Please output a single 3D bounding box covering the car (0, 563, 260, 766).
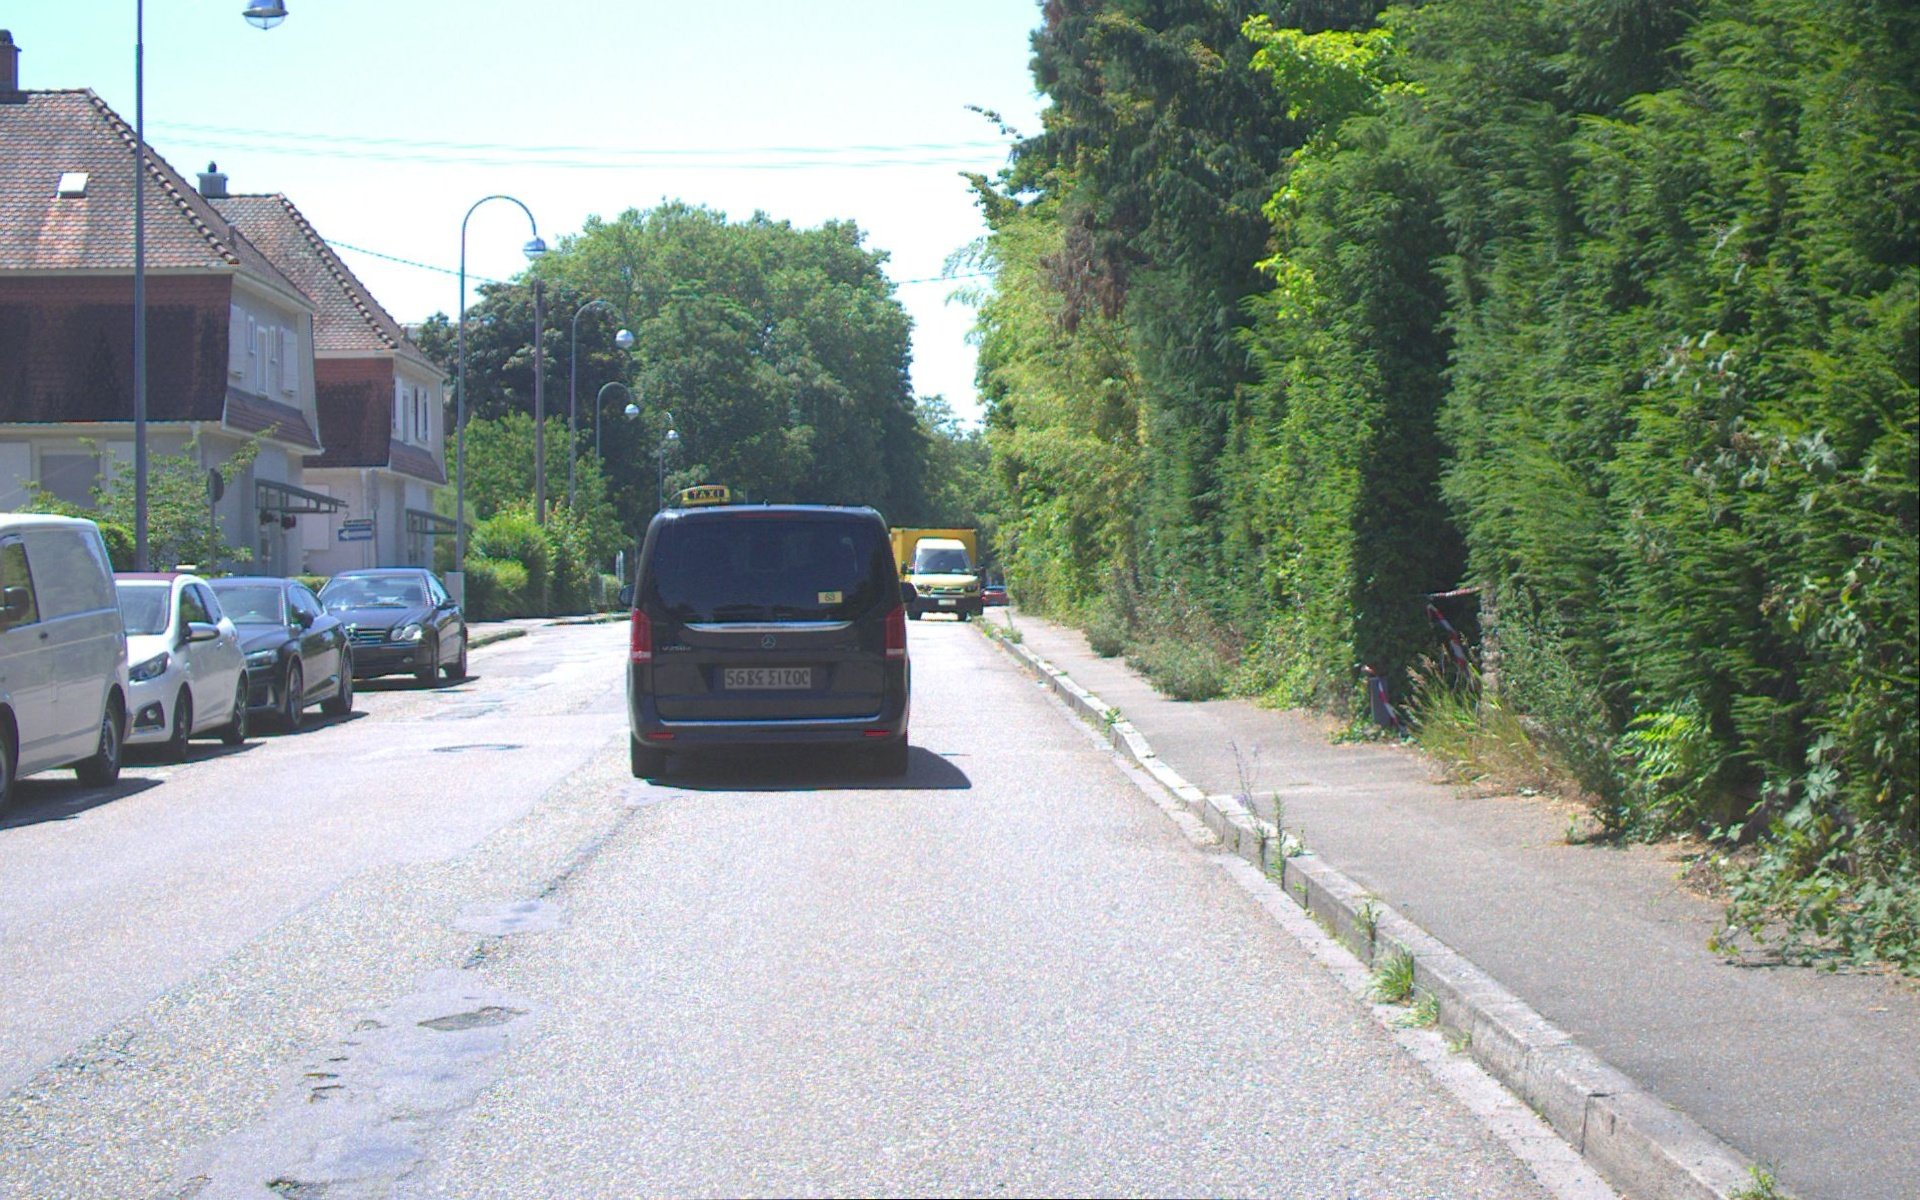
[{"bbox_3d":[-6.802,0.472,27.653,1.666,1.487,3.478,-1,1,-1],"label":"car"}]

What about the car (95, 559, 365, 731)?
[{"bbox_3d":[-6.805,0.370,32.464,1.666,1.487,4.466,0,1,-1],"label":"car"}]

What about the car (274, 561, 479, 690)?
[{"bbox_3d":[-6.953,0.265,41.349,1.666,1.381,4.380,-2,1,0],"label":"car"}]

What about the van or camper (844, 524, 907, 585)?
[{"bbox_3d":[-2.831,-1.508,116.082,1.993,2.007,4.000,-1,0,0],"label":"van or camper"}]

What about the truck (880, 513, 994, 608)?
[{"bbox_3d":[-0.609,-0.955,84.687,2.355,2.251,6.093,-1,0,-5],"label":"truck"}]

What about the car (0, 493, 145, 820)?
[{"bbox_3d":[-6.736,0.353,22.136,1.878,1.956,4.626,-3,1,-1],"label":"car"}]

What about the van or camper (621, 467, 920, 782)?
[{"bbox_3d":[-1.255,0.136,24.764,1.902,2.007,5.270,0,0,-1],"label":"van or camper"}]
